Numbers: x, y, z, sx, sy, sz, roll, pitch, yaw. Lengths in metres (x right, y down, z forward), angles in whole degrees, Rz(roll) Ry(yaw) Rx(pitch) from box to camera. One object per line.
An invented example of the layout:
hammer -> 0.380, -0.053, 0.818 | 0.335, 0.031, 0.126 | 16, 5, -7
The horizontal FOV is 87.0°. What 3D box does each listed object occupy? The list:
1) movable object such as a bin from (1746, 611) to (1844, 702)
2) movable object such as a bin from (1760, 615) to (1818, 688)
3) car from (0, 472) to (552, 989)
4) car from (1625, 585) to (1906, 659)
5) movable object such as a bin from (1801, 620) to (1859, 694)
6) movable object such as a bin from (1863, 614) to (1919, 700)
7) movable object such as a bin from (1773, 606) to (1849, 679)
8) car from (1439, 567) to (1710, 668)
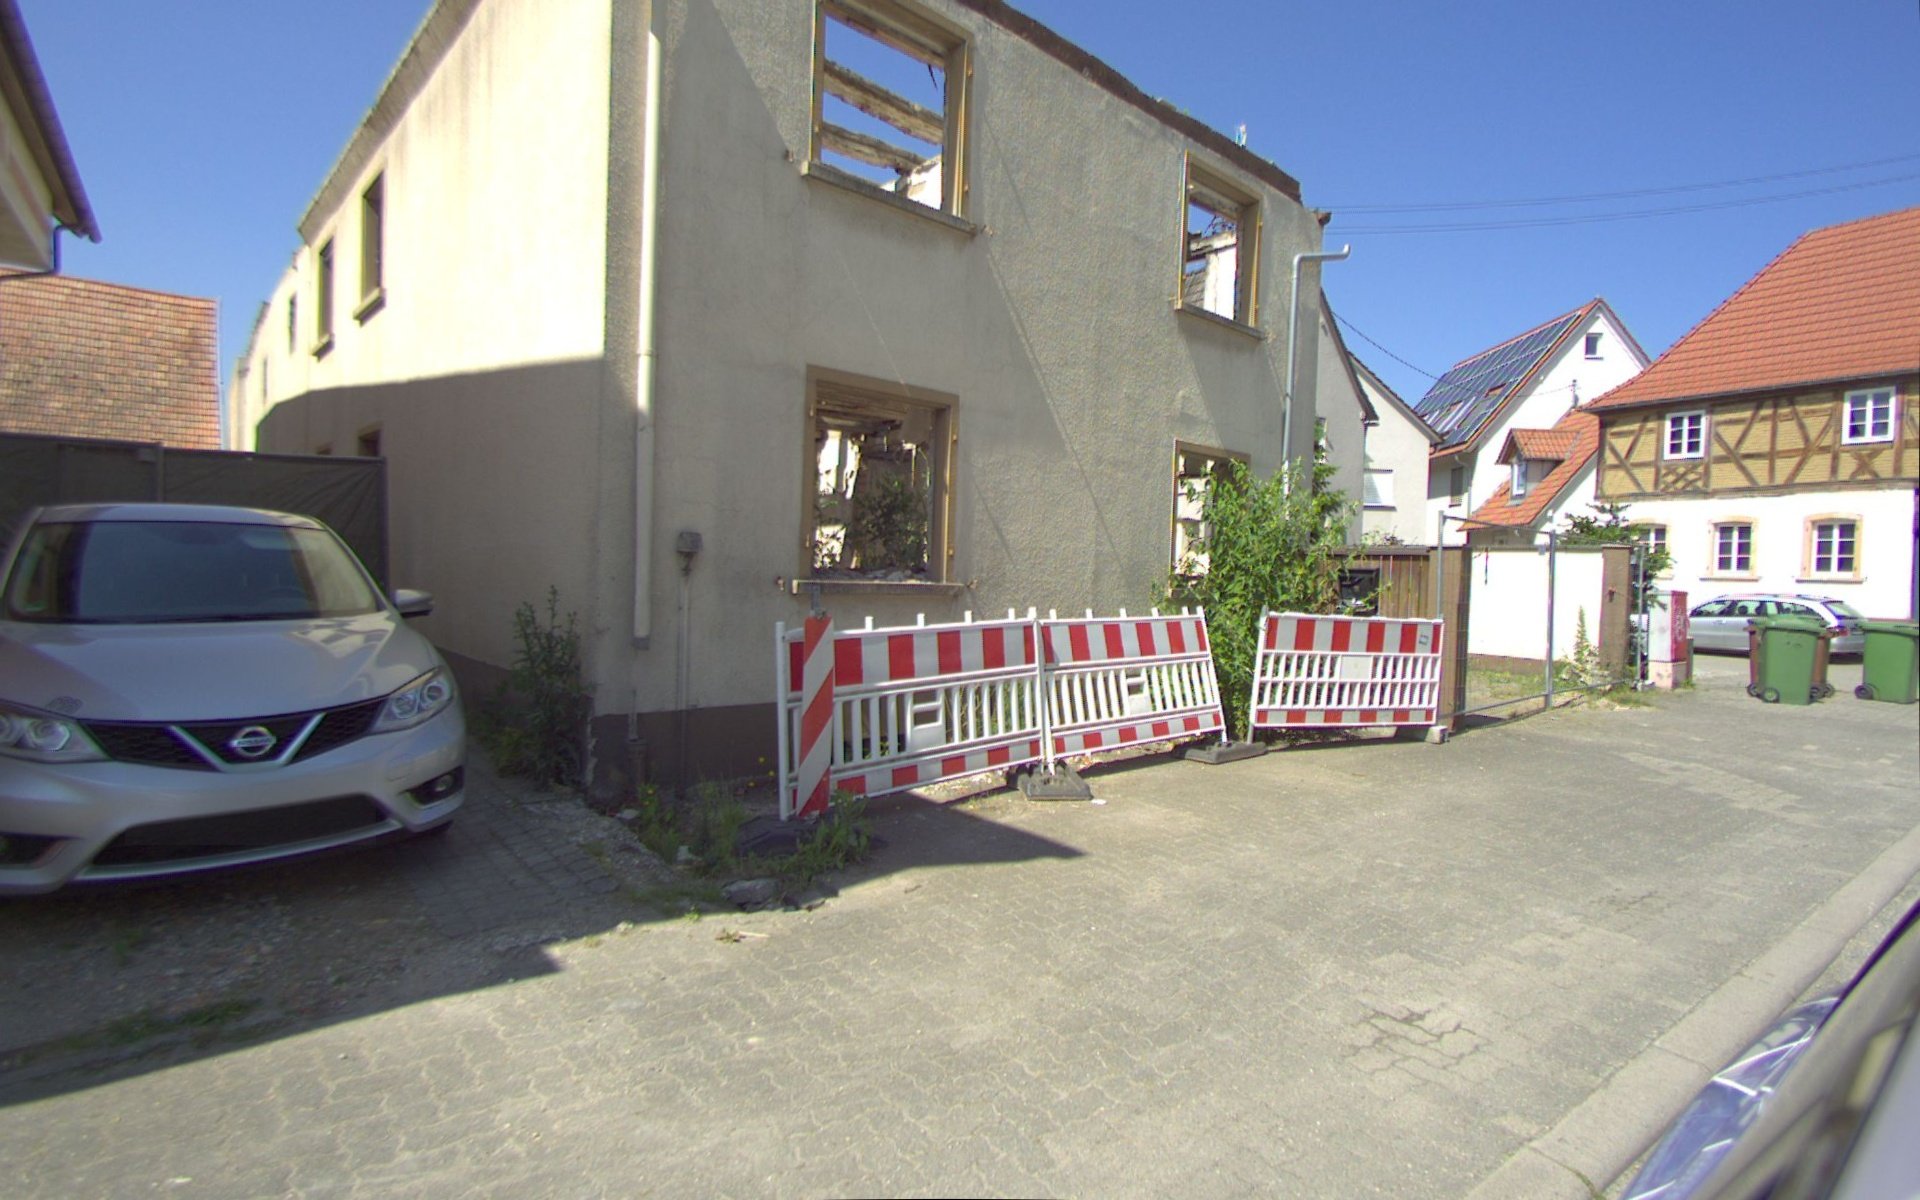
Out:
movable object such as a bin -> 10.796, 0.714, 13.113 | 0.752, 1.085, 0.668 | 2, 1, 19
movable object such as a bin -> 11.624, 0.712, 14.190 | 0.486, 0.982, 0.467 | 1, 2, -31
car -> -3.717, 0.263, 4.937 | 1.839, 1.525, 4.094 | 0, 3, -43
car -> 18.728, 0.445, 23.823 | 1.959, 1.470, 4.776 | 1, 1, -27
movable object such as a bin -> 11.853, 0.761, 13.796 | 0.453, 0.961, 0.446 | 1, 2, -30
movable object such as a bin -> 12.905, 0.762, 13.806 | 0.625, 1.105, 0.690 | 1, 2, -30
movable object such as a bin -> 13.677, 0.665, 16.269 | 0.740, 1.094, 0.723 | 1, 2, -34
car -> 10.550, 0.292, 17.381 | 4.206, 1.547, 1.821 | 1, 2, -23
